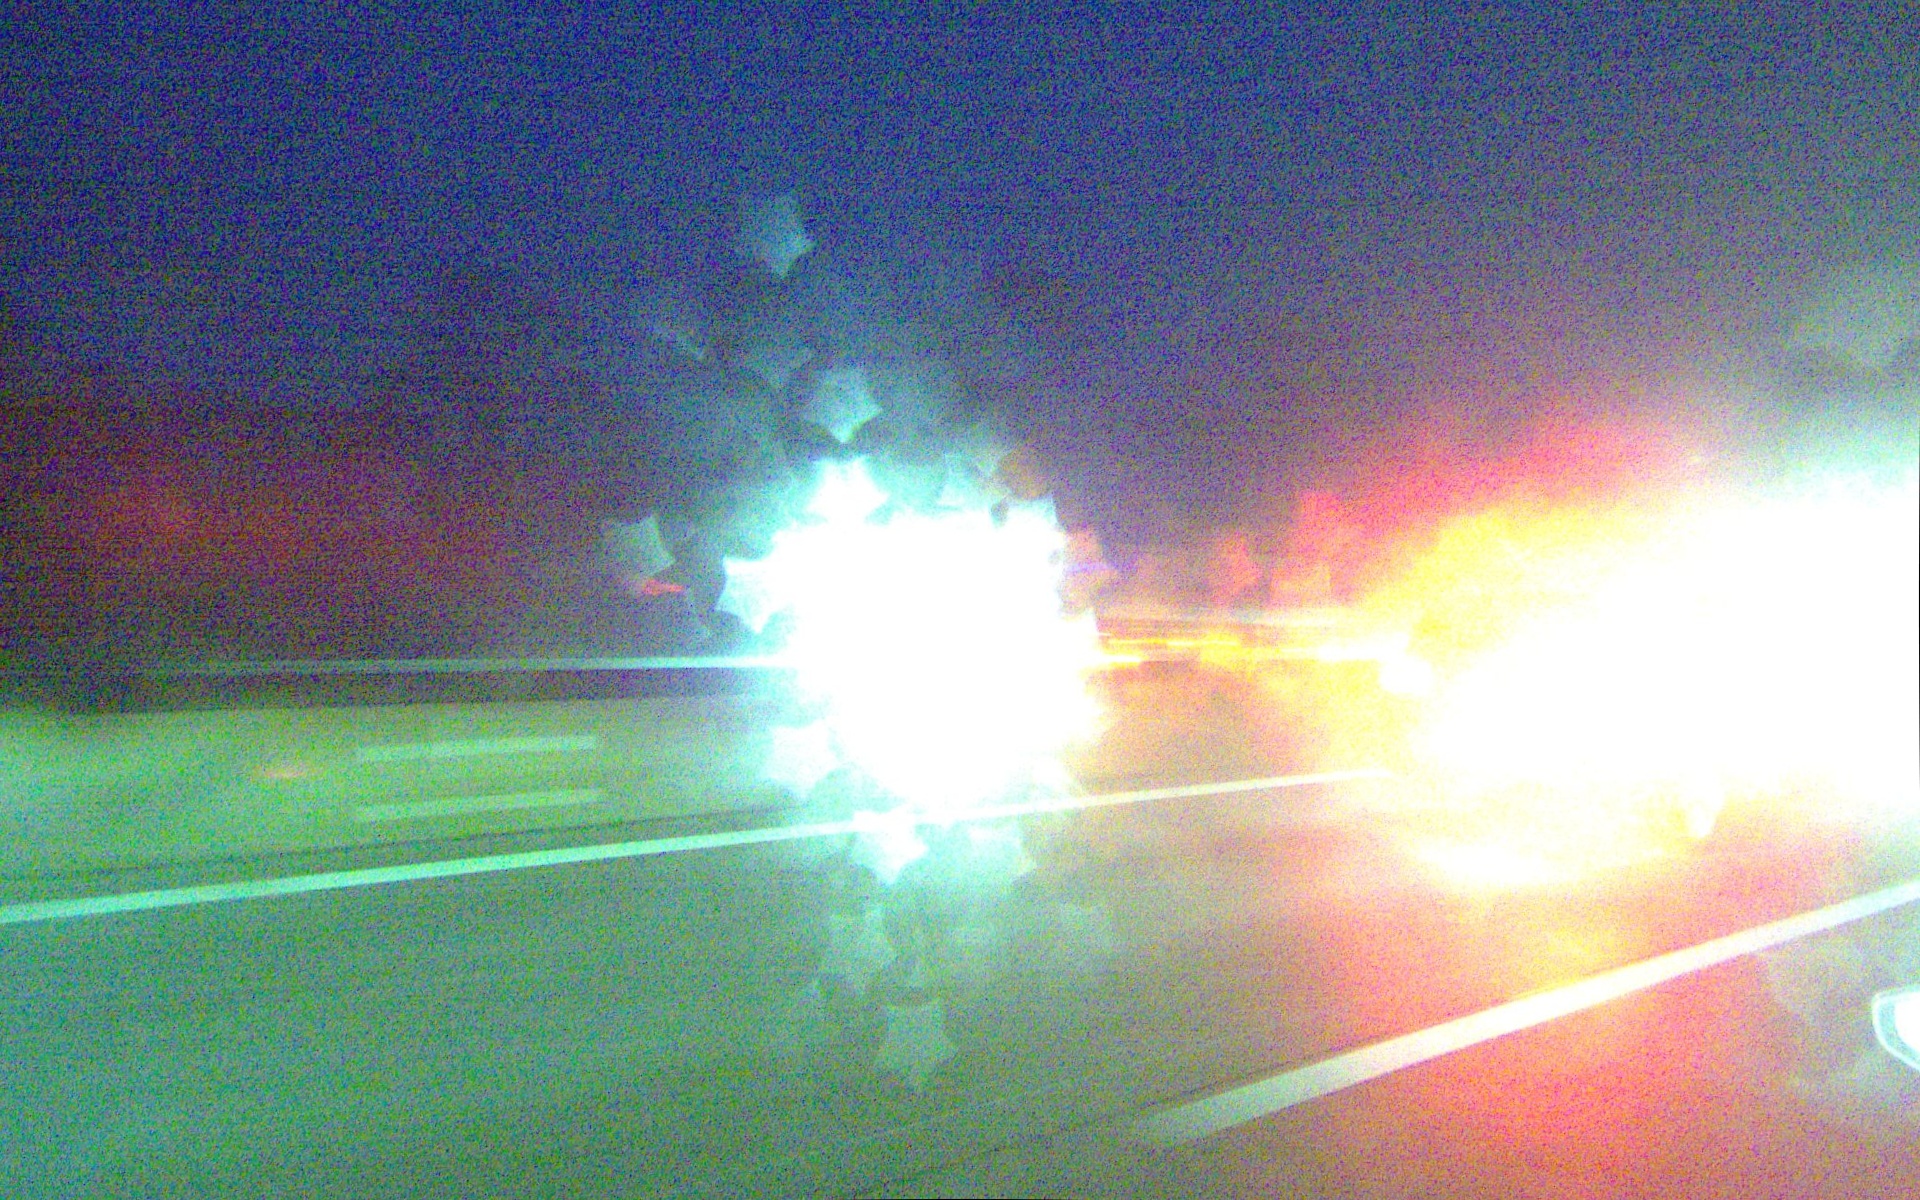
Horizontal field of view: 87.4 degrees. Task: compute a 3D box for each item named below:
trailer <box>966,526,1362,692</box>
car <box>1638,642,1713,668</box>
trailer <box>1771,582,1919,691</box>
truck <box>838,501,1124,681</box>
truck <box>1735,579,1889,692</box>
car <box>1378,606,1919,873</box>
[{"bbox_3d":[5.892,0.446,27.188,11.886,3.797,2.683,2,-4,-32],"label":"trailer"},{"bbox_3d":[39.767,3.039,55.814,4.538,1.395,1.553,2,-4,-29],"label":"car"},{"bbox_3d":[45.745,1.912,50.160,14.404,4.912,2.911,2,-4,-29],"label":"trailer"},{"bbox_3d":[0.554,-0.030,23.954,6.379,3.808,2.684,2,-4,-31],"label":"truck"},{"bbox_3d":[39.638,1.725,46.693,7.485,4.912,2.911,2,-4,-29],"label":"truck"},{"bbox_3d":[5.600,0.828,7.850,4.693,1.561,1.850,0,0,-29],"label":"car"}]
